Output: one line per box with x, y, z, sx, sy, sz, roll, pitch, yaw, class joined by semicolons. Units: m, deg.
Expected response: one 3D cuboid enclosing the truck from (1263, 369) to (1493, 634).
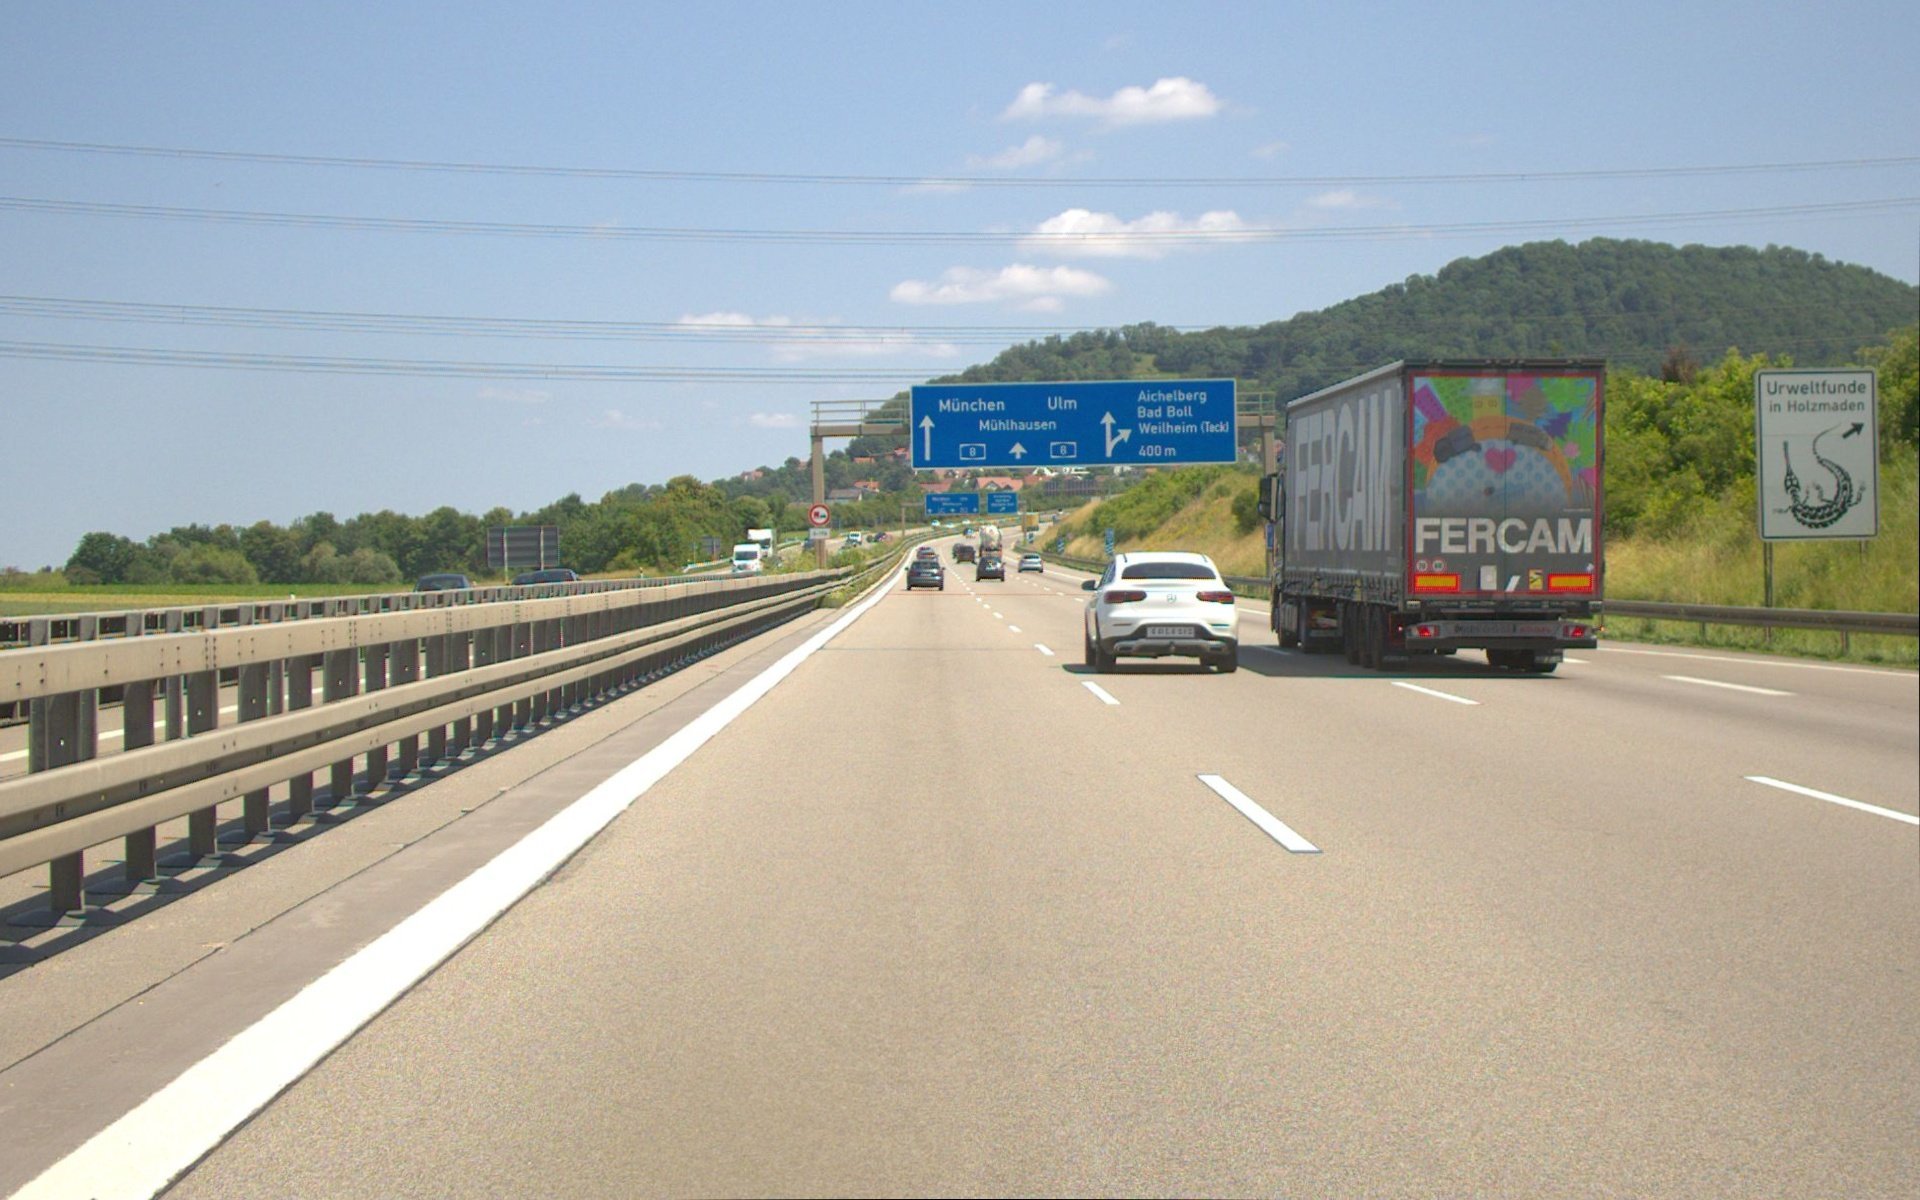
6.661;-1.537;55.764;2.752;4.007;6.789;1;1;-1;truck

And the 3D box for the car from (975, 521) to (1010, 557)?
1.865;-3.532;199.772;1.993;2.007;4.000;1;1;0;car

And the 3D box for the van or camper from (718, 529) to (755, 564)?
-16.075;-3.846;247.750;2.227;2.500;6.597;1;1;-1;van or camper

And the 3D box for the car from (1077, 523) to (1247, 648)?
2.686;-0.214;46.853;1.914;1.575;5.231;1;1;-1;car

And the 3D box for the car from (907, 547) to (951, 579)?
-1.407;-1.699;157.710;1.993;1.384;4.000;1;1;0;car

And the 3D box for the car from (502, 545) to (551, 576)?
-18.605;-1.703;147.713;1.573;1.302;4.042;-1;1;0;car

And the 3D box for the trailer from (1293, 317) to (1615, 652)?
6.735;-1.501;48.789;2.725;4.140;11.809;1;1;0;trailer
